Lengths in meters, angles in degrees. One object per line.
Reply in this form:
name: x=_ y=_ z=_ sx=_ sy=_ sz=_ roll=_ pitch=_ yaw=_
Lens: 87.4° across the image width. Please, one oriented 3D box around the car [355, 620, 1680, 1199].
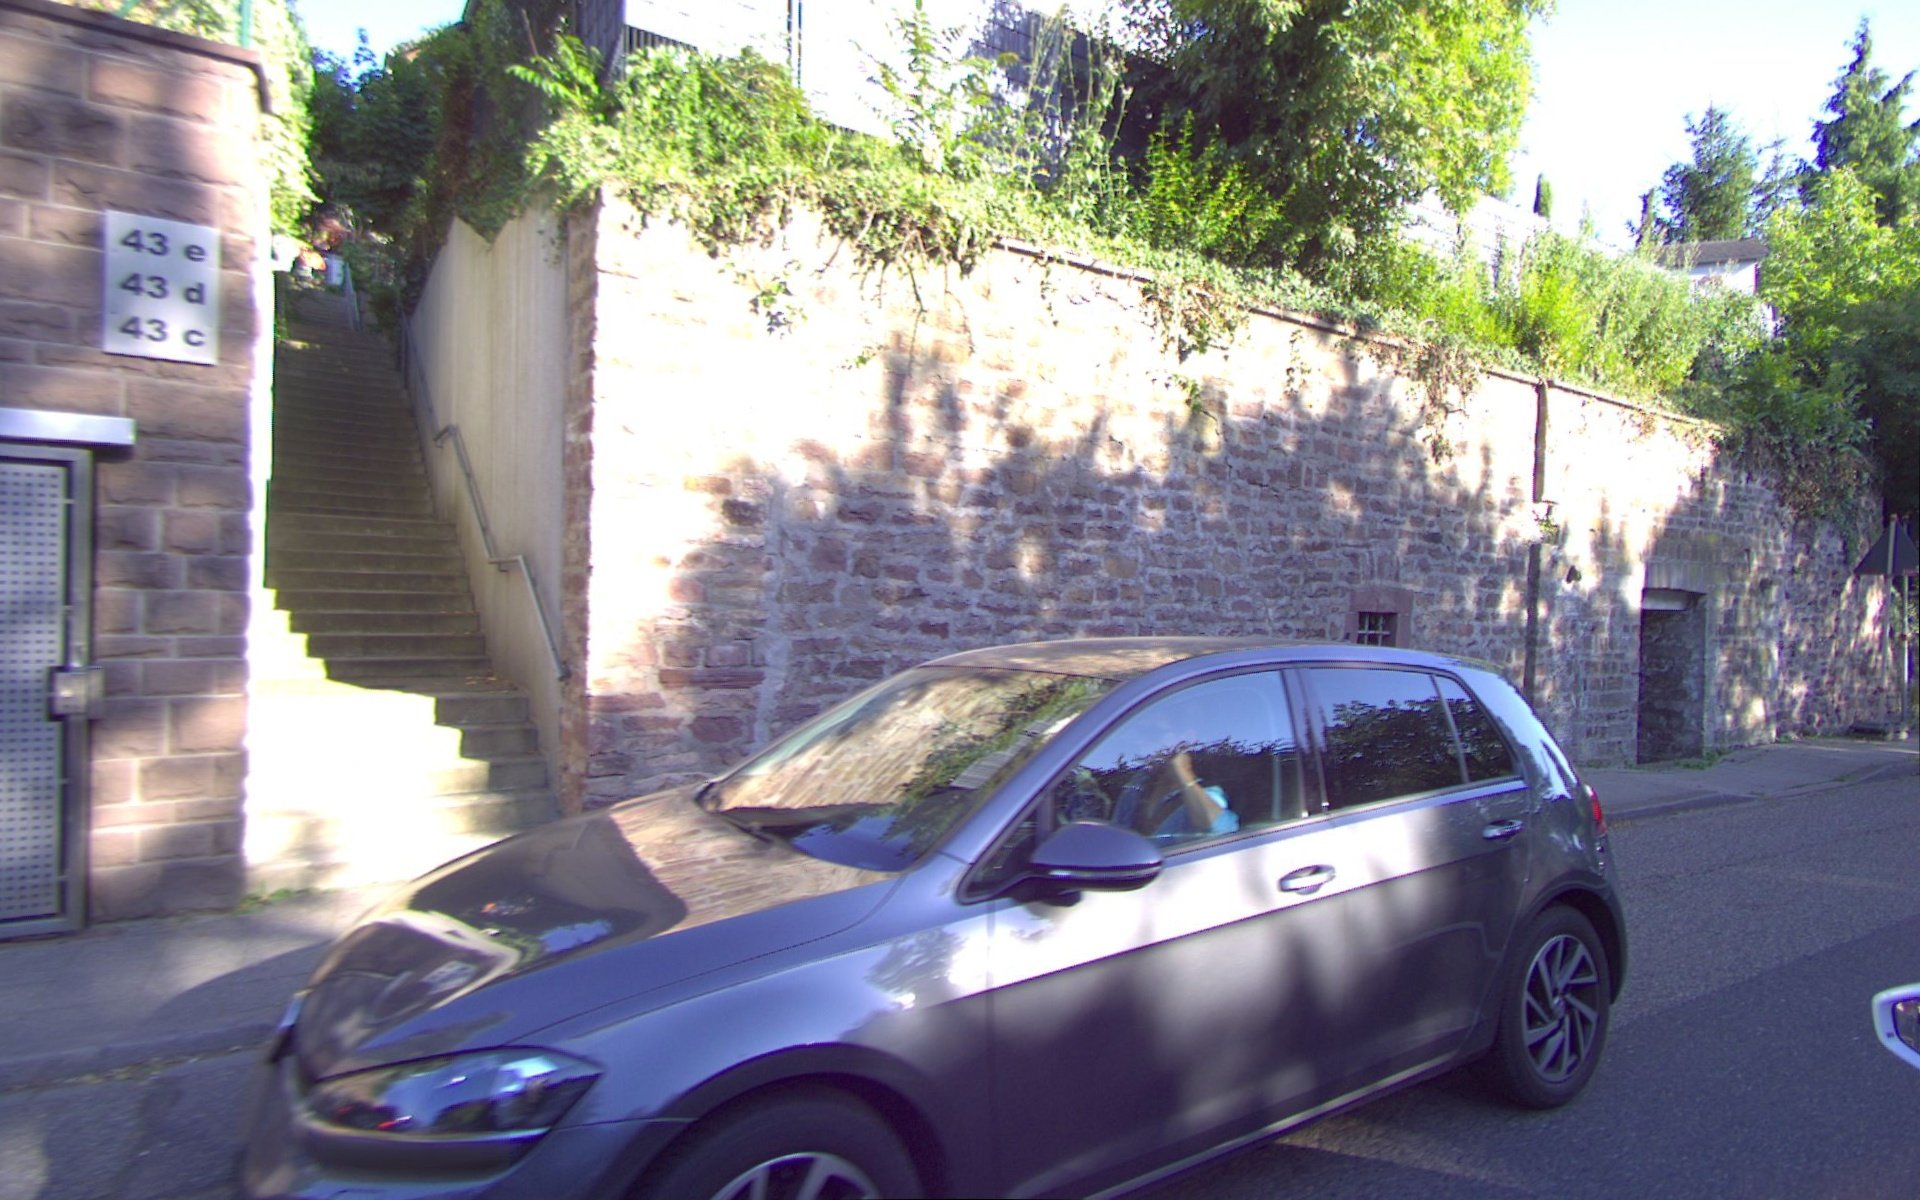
car: x=0.399 y=0.812 z=3.126 sx=3.886 sy=1.429 sz=1.640 roll=2 pitch=-2 yaw=-32
